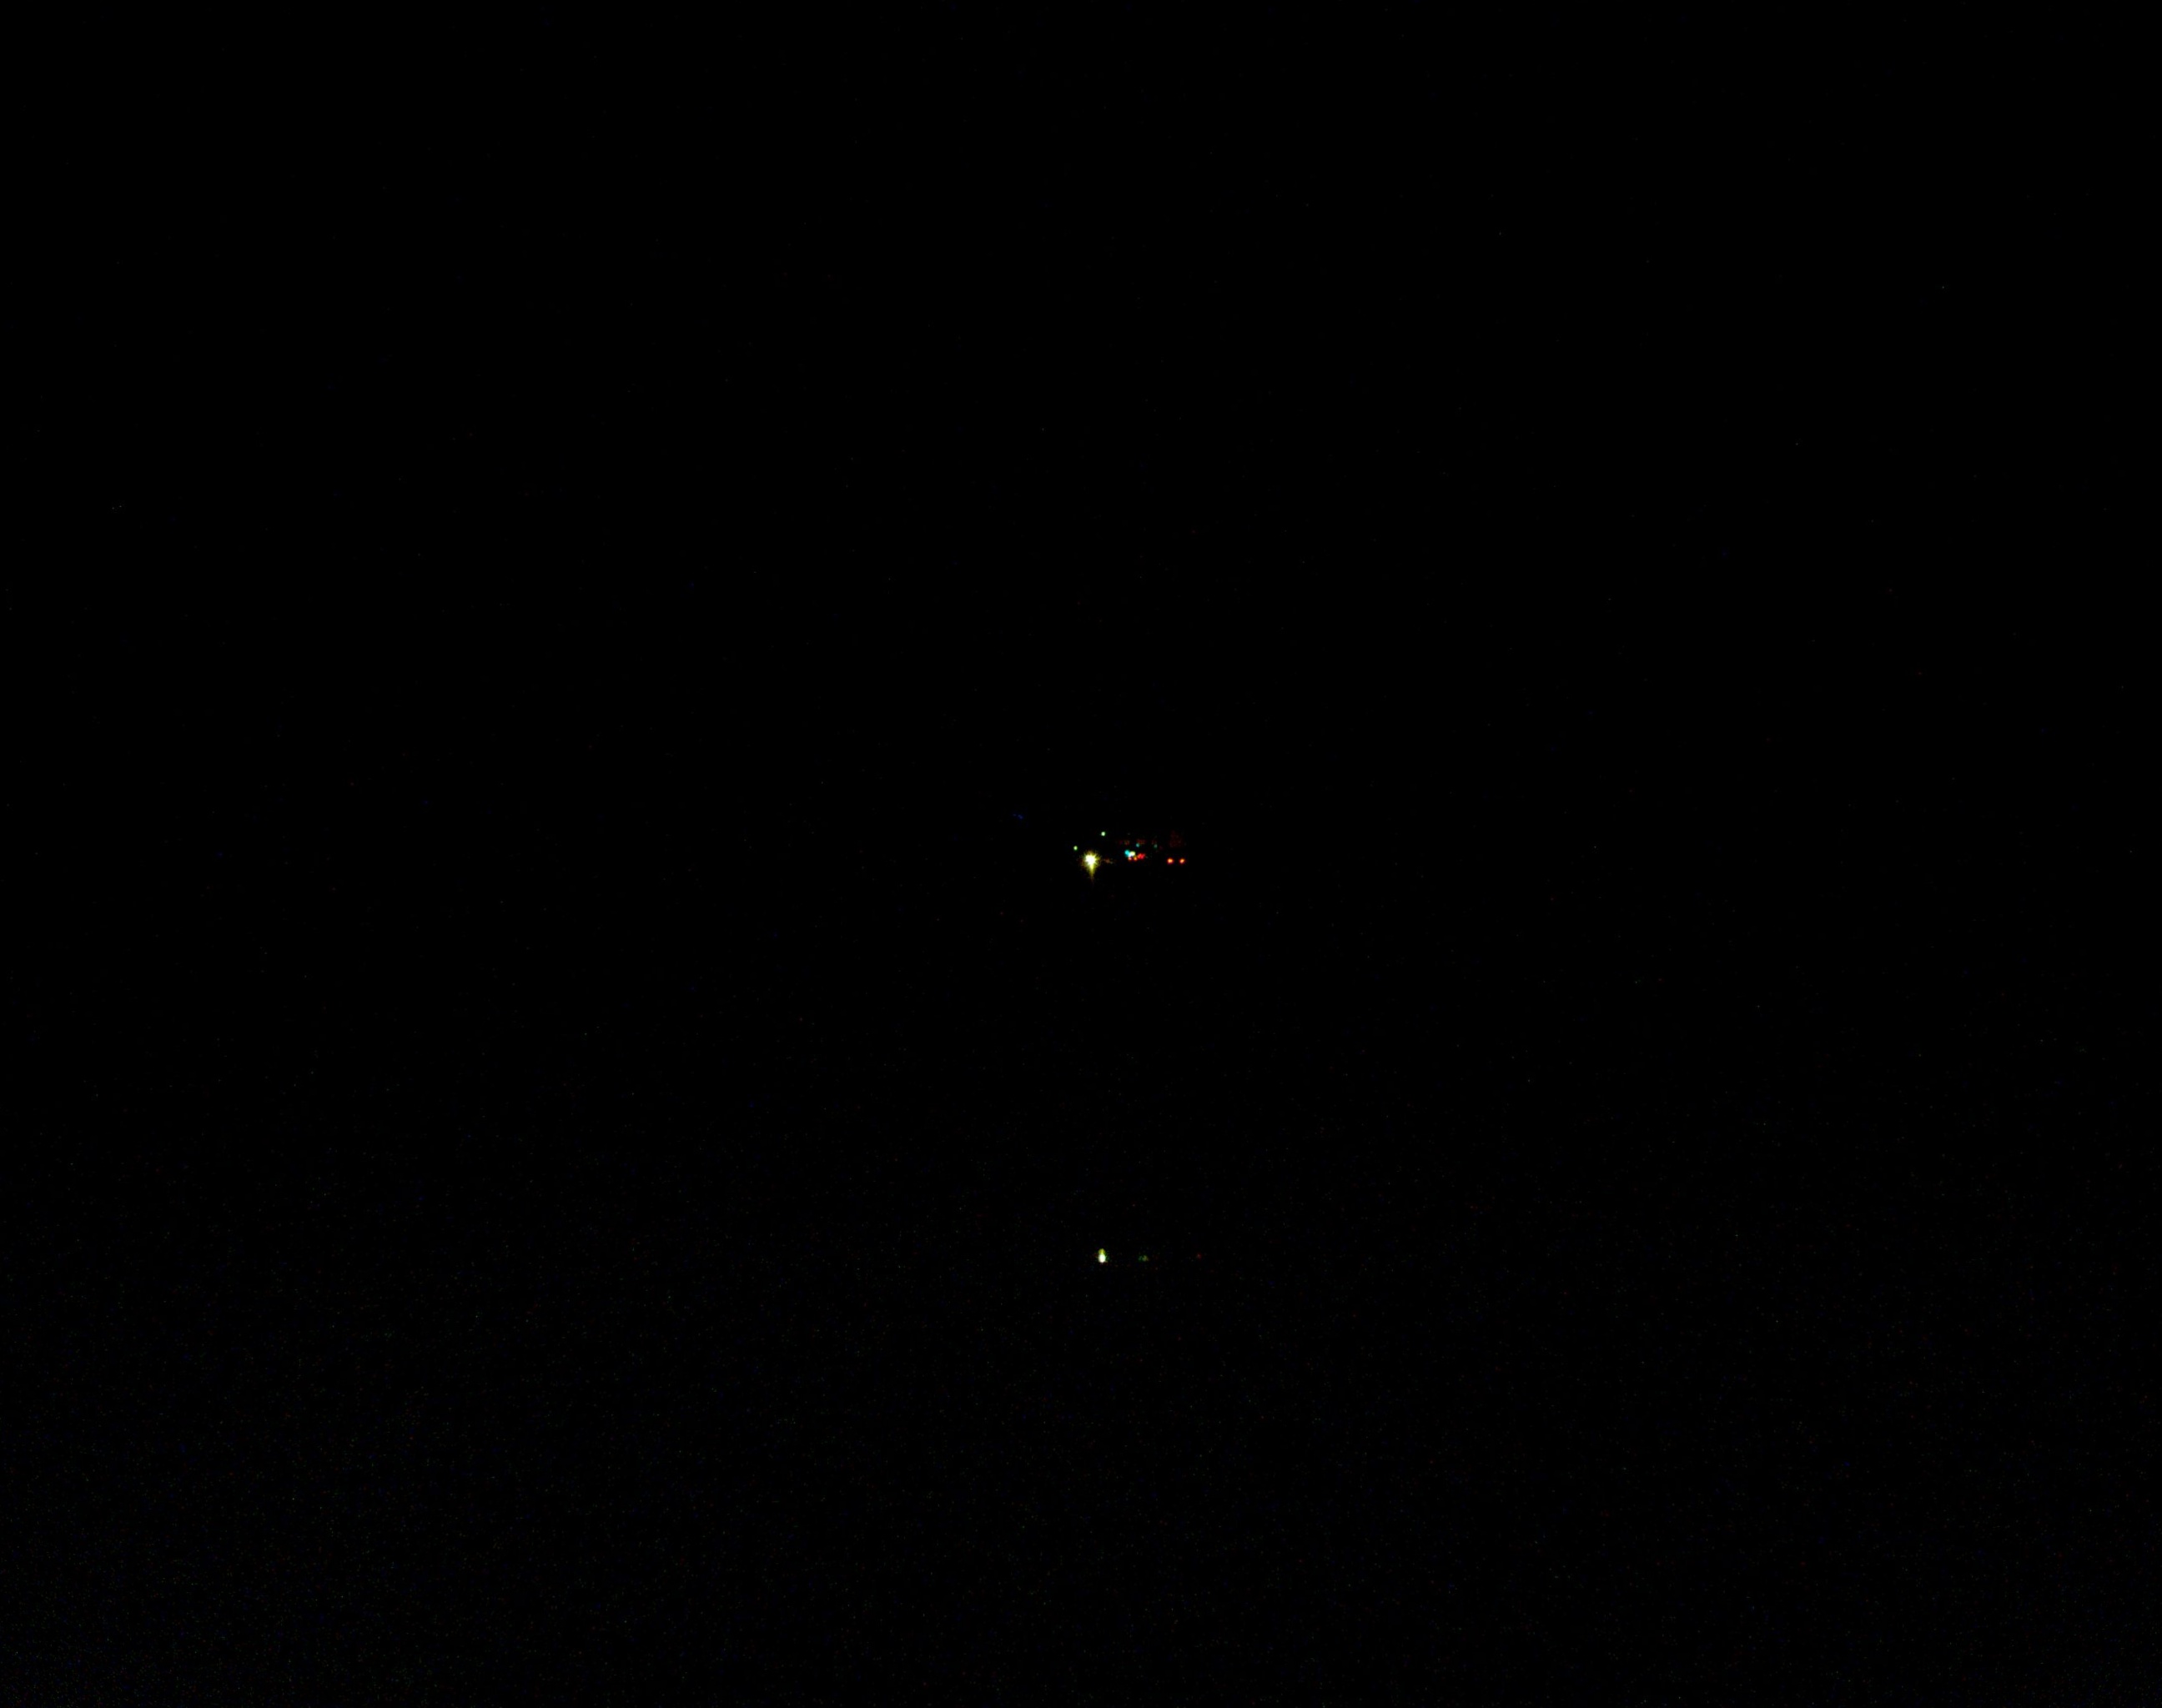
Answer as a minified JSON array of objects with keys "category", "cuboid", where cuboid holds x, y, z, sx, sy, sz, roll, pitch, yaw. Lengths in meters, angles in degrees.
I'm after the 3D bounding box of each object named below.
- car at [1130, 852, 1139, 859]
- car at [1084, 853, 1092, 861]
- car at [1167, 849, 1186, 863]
[{"category":"car","cuboid":[12.871,0.344,182.827,1.687,1.578,4.166,-2,0,1]},{"category":"car","cuboid":[1.455,0.580,151.821,1.570,1.336,4.166,-2,0,1]},{"category":"car","cuboid":[11.050,0.270,88.009,1.621,1.498,3.868,-2,1,1]}]
